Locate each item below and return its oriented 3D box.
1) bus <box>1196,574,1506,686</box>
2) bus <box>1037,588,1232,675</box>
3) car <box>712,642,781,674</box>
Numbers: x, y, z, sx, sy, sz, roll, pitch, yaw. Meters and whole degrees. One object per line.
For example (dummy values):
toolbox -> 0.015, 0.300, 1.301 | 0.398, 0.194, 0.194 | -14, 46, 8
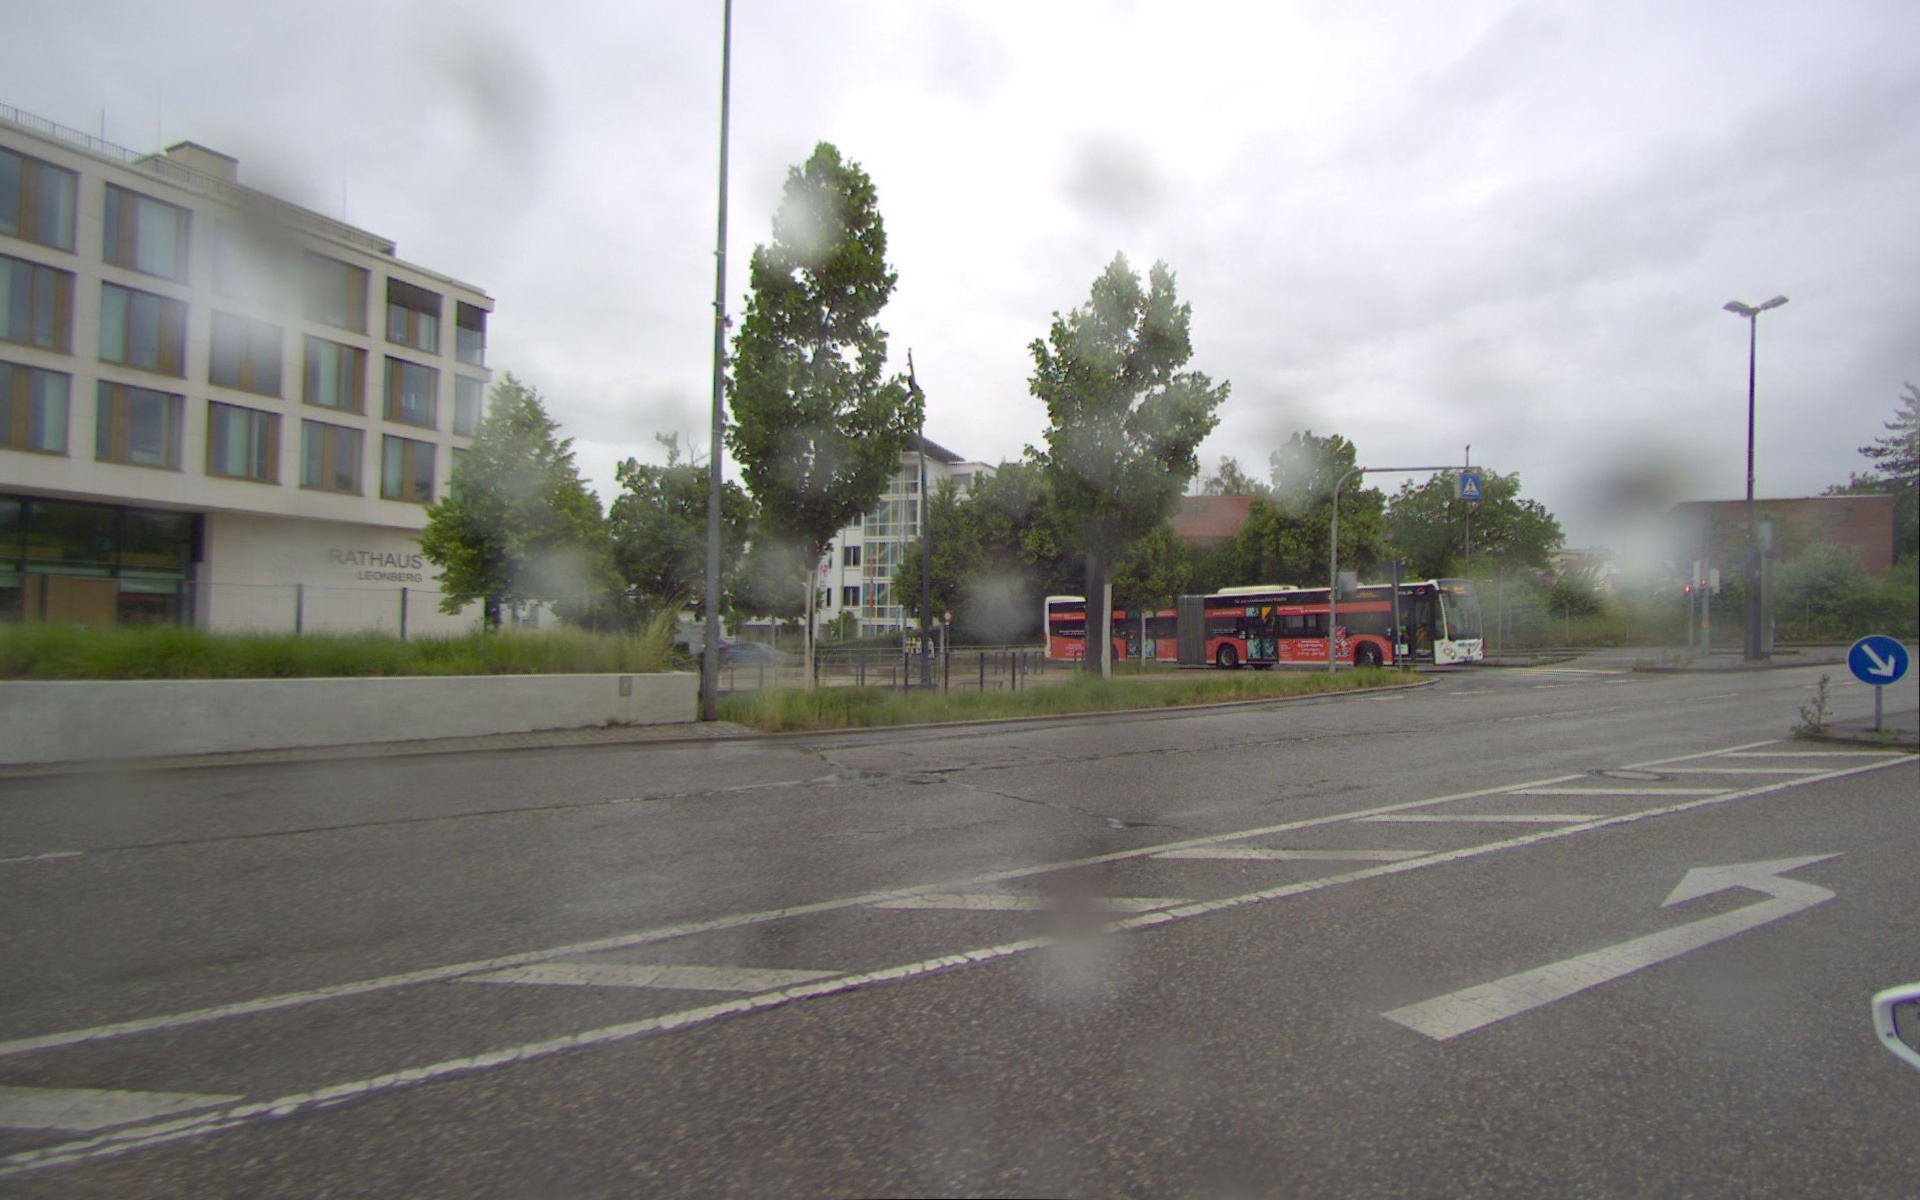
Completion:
bus -> 13.346, 1.116, 35.519 | 2.836, 3.323, 10.304 | 5, -4, -36
bus -> 7.247, 1.314, 42.464 | 7.721, 3.323, 2.731 | -1, -4, 39
car -> -11.939, 3.242, 56.097 | 3.354, 1.639, 1.608 | 1, -4, 20
